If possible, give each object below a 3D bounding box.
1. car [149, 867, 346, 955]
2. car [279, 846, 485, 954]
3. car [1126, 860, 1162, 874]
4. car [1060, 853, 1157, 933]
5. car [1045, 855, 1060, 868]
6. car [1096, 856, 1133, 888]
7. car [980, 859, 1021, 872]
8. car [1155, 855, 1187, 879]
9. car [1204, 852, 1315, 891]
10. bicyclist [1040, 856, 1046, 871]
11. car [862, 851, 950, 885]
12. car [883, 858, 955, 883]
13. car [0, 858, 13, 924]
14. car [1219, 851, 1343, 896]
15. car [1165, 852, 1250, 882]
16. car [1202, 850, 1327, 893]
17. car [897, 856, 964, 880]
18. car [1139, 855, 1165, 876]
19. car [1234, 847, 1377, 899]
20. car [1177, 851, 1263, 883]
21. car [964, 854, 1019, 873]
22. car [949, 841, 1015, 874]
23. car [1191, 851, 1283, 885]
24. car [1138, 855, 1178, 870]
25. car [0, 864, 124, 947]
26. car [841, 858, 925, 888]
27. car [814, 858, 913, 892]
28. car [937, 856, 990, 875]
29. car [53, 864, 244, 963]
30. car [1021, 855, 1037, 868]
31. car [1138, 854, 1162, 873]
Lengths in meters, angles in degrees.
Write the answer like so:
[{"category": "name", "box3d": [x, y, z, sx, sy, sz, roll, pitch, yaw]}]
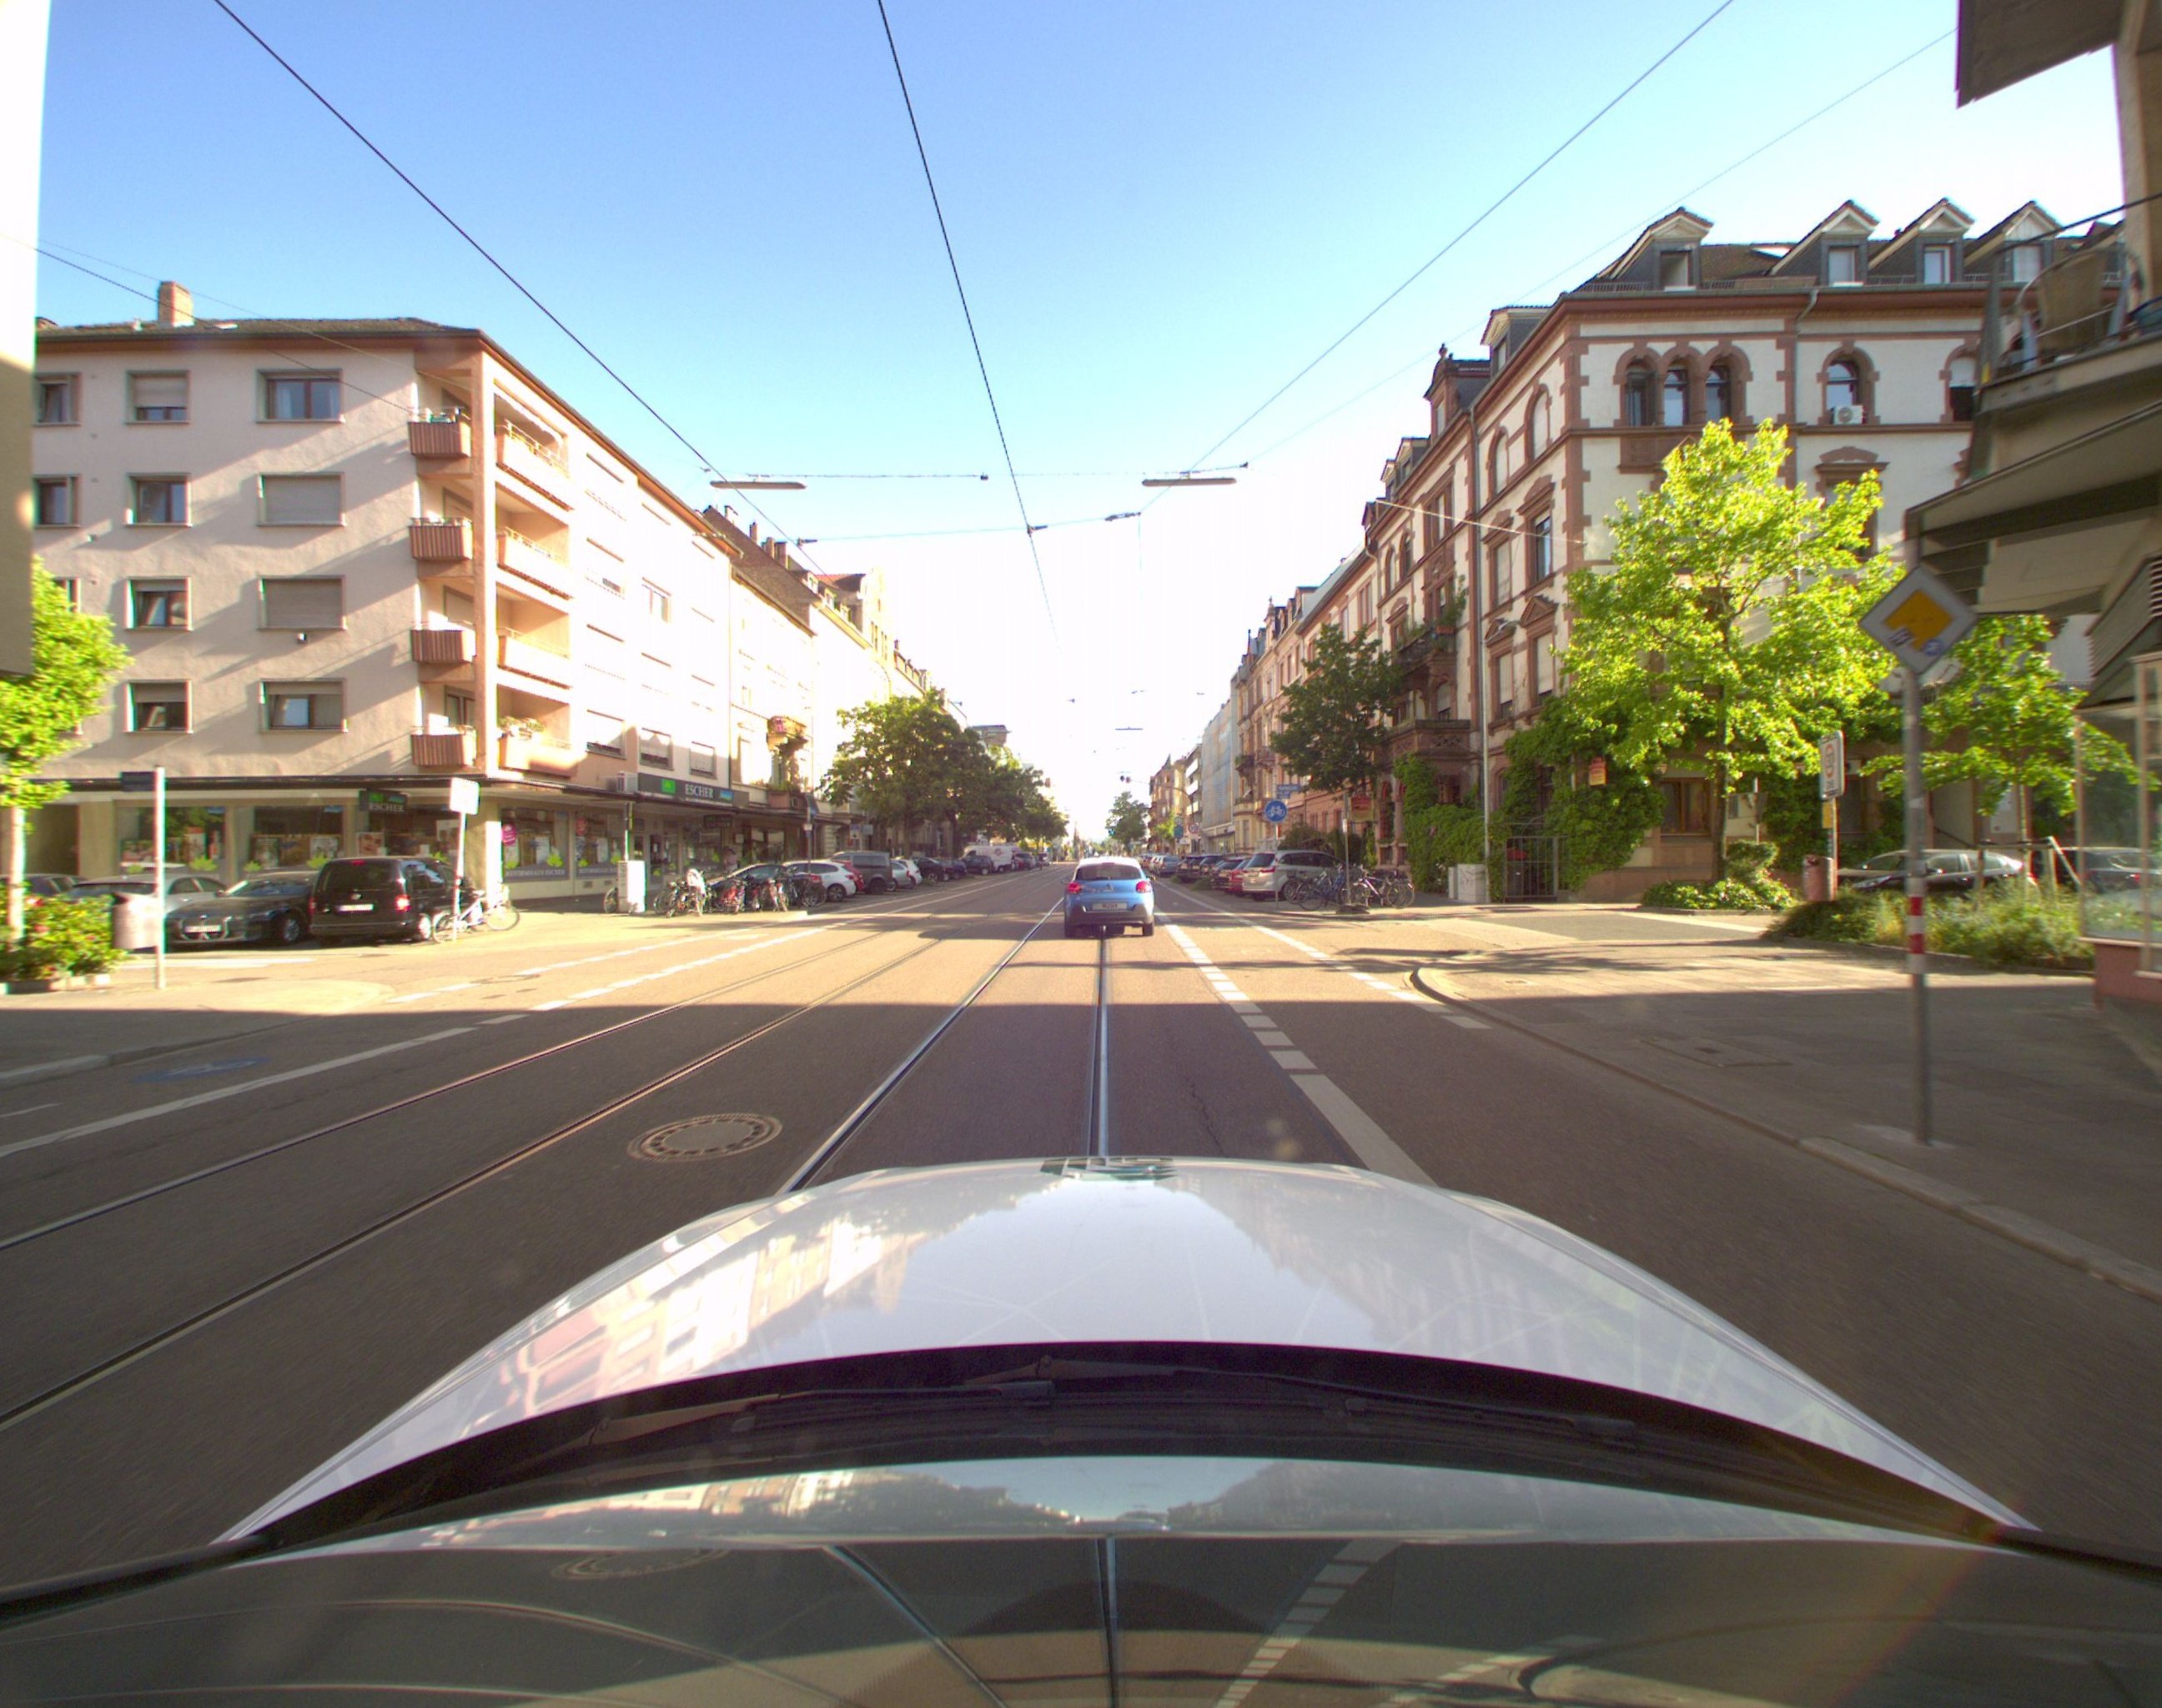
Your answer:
[{"category": "car", "box3d": [-17.671, 1.103, 17.528, 1.854, 1.392, 3.964, 0, 3, -29]}, {"category": "car", "box3d": [-15.028, 0.858, 17.869, 1.849, 1.817, 4.330, -3, 4, -19]}, {"category": "car", "box3d": [6.841, 1.421, 88.544, 3.463, 1.555, 1.807, 0, -1, -30]}, {"category": "car", "box3d": [0.549, 0.717, 16.508, 1.756, 1.441, 3.558, 0, 0, 1]}, {"category": "car", "box3d": [-4.179, 1.135, 119.986, 1.825, 1.848, 4.215, 0, 0, 2]}, {"category": "car", "box3d": [1.752, 0.913, 42.560, 1.866, 1.596, 4.002, 0, 0, 2]}, {"category": "car", "box3d": [-7.955, 1.104, 80.688, 3.814, 1.265, 1.504, 0, -1, -24]}, {"category": "car", "box3d": [6.291, 0.905, 57.384, 1.866, 1.596, 4.721, 0, 0, 2]}, {"category": "car", "box3d": [7.670, 0.722, 35.096, 4.336, 1.596, 2.029, 0, -1, -23]}, {"category": "bicyclist", "box3d": [-4.046, 1.011, 87.154, 0.632, 1.681, 0.727, 0, -1, 2]}, {"category": "car", "box3d": [-9.619, 0.740, 44.889, 4.381, 1.783, 1.976, 0, -1, -31]}, {"category": "car", "box3d": [-9.994, 0.976, 50.414, 4.013, 1.489, 1.788, 0, -1, -31]}, {"category": "car", "box3d": [-26.089, 0.992, 18.040, 1.697, 1.556, 3.960, 0, 3, -33]}, {"category": "car", "box3d": [7.187, 0.679, 29.315, 4.004, 1.536, 1.904, 0, -1, -23]}, {"category": "car", "box3d": [7.067, 0.707, 45.428, 4.321, 1.596, 1.967, 0, -1, -23]}, {"category": "car", "box3d": [7.180, 0.657, 31.926, 4.453, 1.596, 2.073, 0, -1, -23]}, {"category": "car", "box3d": [-9.874, 0.900, 53.375, 4.008, 1.489, 1.790, 0, -1, -26]}, {"category": "car", "box3d": [5.557, 0.869, 64.286, 1.866, 1.596, 4.002, 0, 0, 2]}, {"category": "car", "box3d": [7.360, 0.599, 26.700, 4.370, 1.596, 1.839, 0, -1, -23]}, {"category": "car", "box3d": [7.274, 0.687, 42.604, 4.004, 1.596, 2.071, 0, -1, -23]}, {"category": "car", "box3d": [-8.204, 0.869, 74.726, 4.786, 1.618, 1.695, 0, -1, -31]}, {"category": "car", "box3d": [-8.551, 0.293, 70.451, 5.402, 2.749, 1.789, 0, -1, -28]}, {"category": "car", "box3d": [7.612, 0.667, 39.759, 4.004, 1.596, 1.944, 0, -1, -23]}, {"category": "car", "box3d": [8.150, 0.918, 86.167, 3.743, 1.521, 1.949, 0, -1, -31]}, {"category": "car", "box3d": [-23.351, 1.069, 18.052, 1.697, 1.457, 3.960, 0, 3, -33]}, {"category": "car", "box3d": [-9.812, 0.927, 40.361, 3.850, 1.430, 1.752, 0, -1, -24]}, {"category": "car", "box3d": [-9.860, 0.930, 36.946, 4.032, 1.449, 1.683, 0, -1, -31]}, {"category": "car", "box3d": [-9.379, 0.922, 64.879, 3.994, 1.489, 1.797, 0, -1, -15]}, {"category": "car", "box3d": [-20.487, 1.197, 18.102, 1.451, 1.702, 3.965, 1, 3, -28]}, {"category": "car", "box3d": [-6.371, 0.956, 100.581, 1.742, 1.618, 4.408, 0, 0, -1]}, {"category": "car", "box3d": [5.769, 0.798, 68.786, 1.866, 1.596, 4.002, 0, 0, 2]}]
